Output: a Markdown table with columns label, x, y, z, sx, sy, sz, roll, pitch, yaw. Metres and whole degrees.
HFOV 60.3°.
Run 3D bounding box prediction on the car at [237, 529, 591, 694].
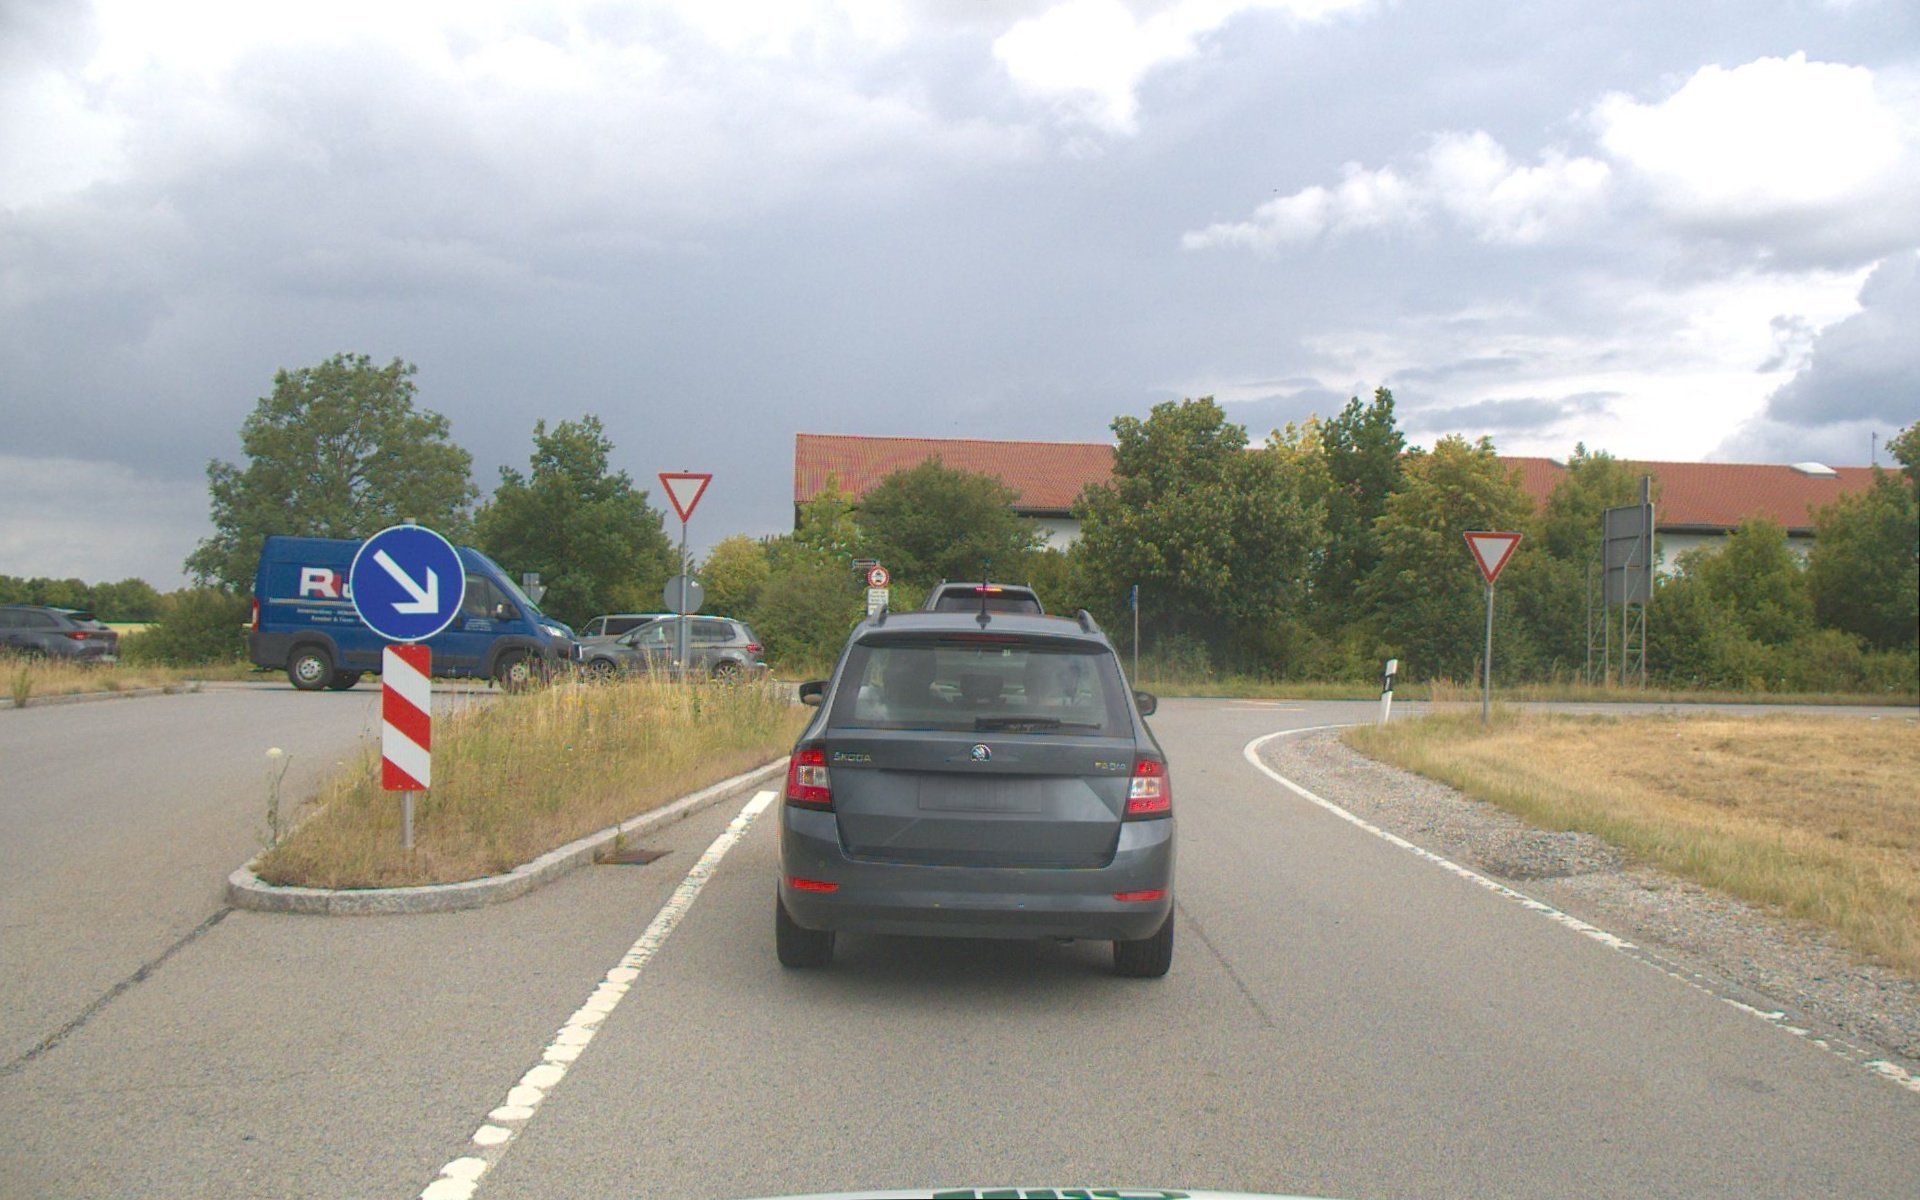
| label | x | y | z | sx | sy | sz | roll | pitch | yaw |
| --- | --- | --- | --- | --- | --- | --- | --- | --- | --- |
| car | -9.229 | 0.194 | 28.415 | 5.448 | 2.685 | 2.145 | 0 | 0 | -8 |

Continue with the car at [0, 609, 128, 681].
| label | x | y | z | sx | sy | sz | roll | pitch | yaw |
| --- | --- | --- | --- | --- | --- | --- | --- | --- | --- |
| car | -18.794 | 0.857 | 32.251 | 4.258 | 1.368 | 1.679 | 0 | 0 | -7 |

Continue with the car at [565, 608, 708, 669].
| label | x | y | z | sx | sy | sz | roll | pitch | yaw |
| --- | --- | --- | --- | --- | --- | --- | --- | --- | --- |
| car | -11.554 | 1.324 | 58.984 | 4.812 | 2.049 | 2.335 | 0 | 0 | 34 |

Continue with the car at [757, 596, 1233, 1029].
| label | x | y | z | sx | sy | sz | roll | pitch | yaw |
| --- | --- | --- | --- | --- | --- | --- | --- | --- | --- |
| car | 0.074 | 0.751 | 7.686 | 1.642 | 1.488 | 3.706 | 2 | 0 | -2 |

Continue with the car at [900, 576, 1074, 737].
| label | x | y | z | sx | sy | sz | roll | pitch | yaw |
| --- | --- | --- | --- | --- | --- | --- | --- | --- | --- |
| car | 0.231 | 0.698 | 21.236 | 1.953 | 1.806 | 4.641 | 1 | -1 | -2 |

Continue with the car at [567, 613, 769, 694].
| label | x | y | z | sx | sy | sz | roll | pitch | yaw |
| --- | --- | --- | --- | --- | --- | --- | --- | --- | --- |
| car | -6.193 | 1.124 | 35.562 | 4.129 | 1.629 | 1.997 | 0 | 0 | -6 |
